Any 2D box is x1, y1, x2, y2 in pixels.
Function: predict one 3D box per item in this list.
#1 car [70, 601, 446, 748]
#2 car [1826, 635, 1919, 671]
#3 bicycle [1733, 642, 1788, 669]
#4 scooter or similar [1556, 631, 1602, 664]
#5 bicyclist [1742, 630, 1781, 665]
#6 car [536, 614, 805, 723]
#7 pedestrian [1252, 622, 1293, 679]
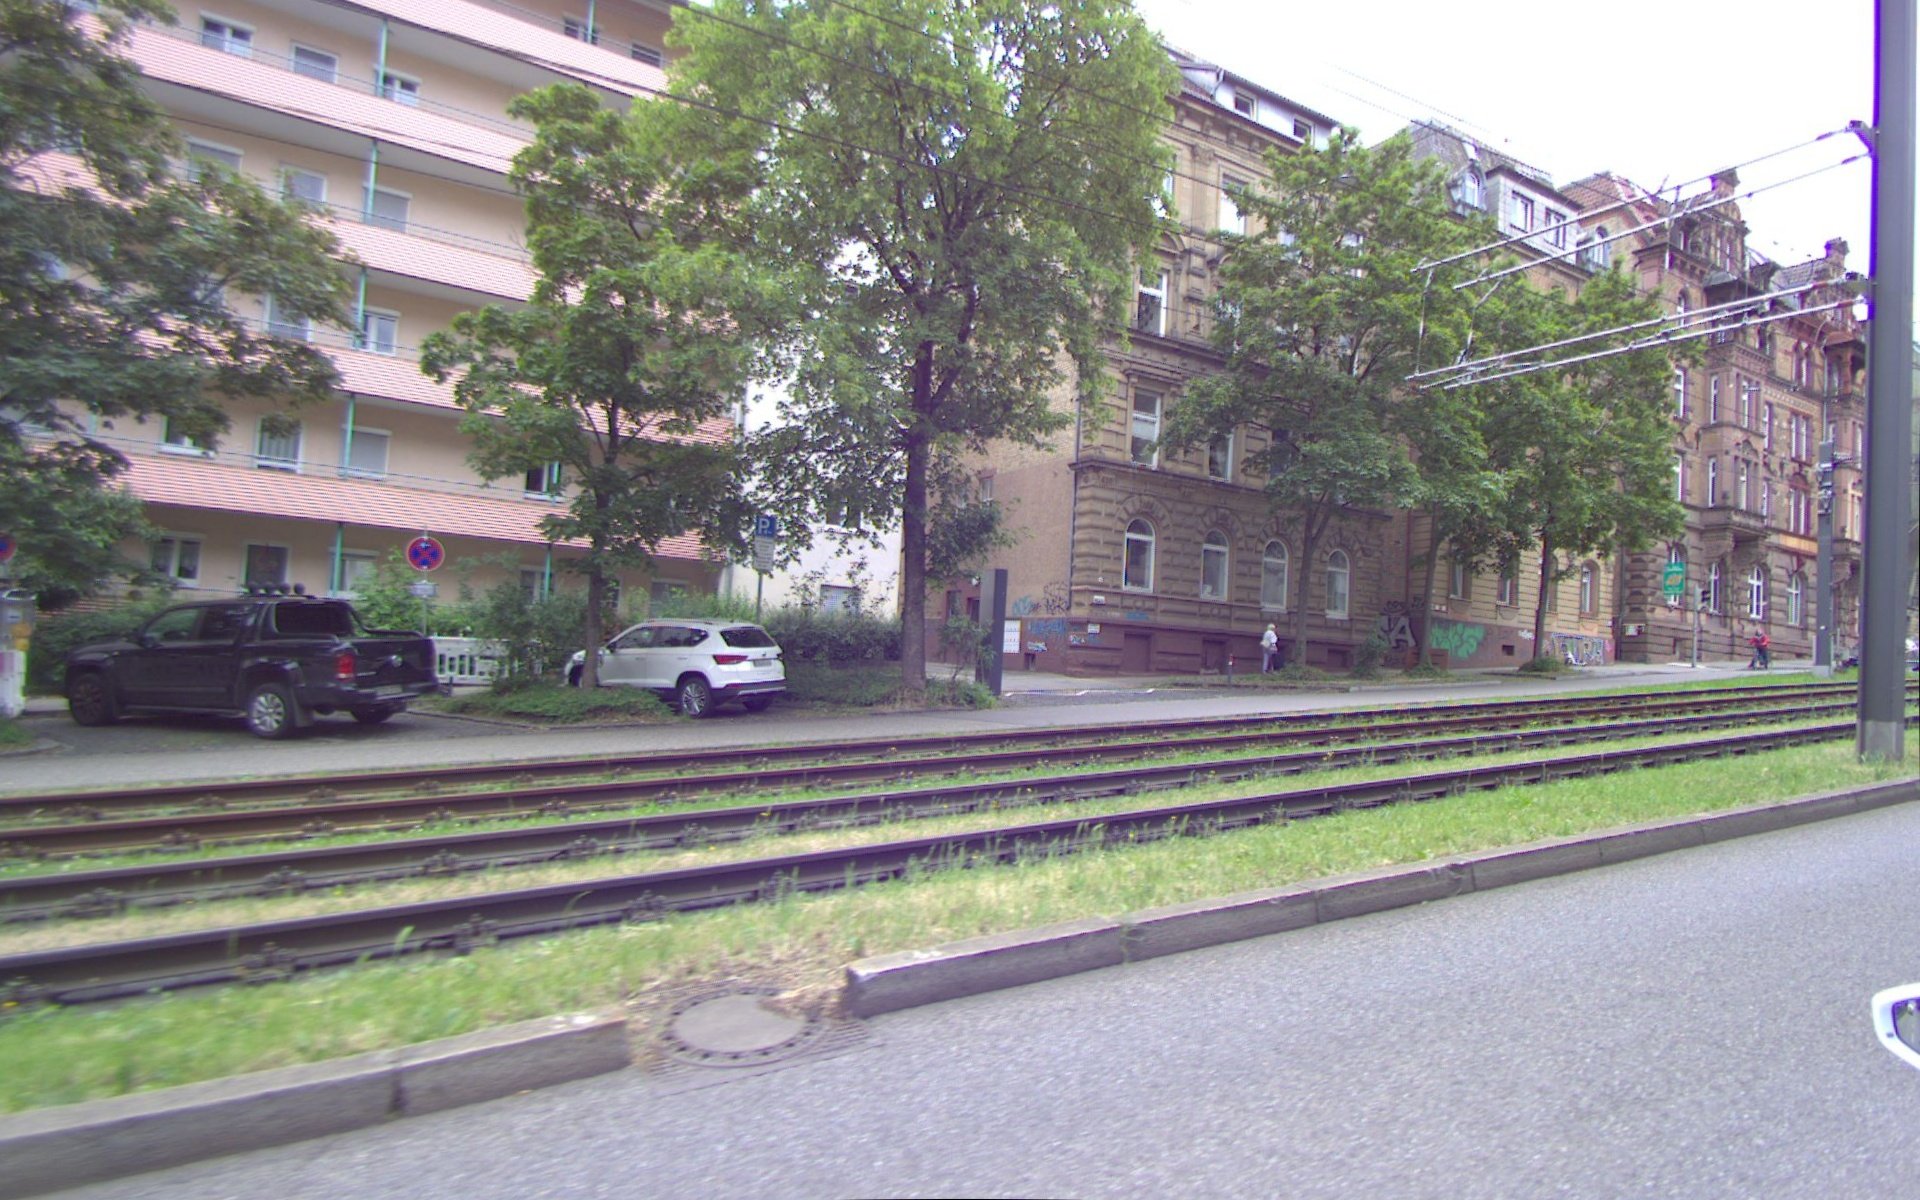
[{"bbox_3d":[-10.064,0.973,14.501,4.514,1.821,1.937,1,0,14],"label":"car"},{"bbox_3d":[37.809,2.147,41.402,3.951,1.421,1.985,1,-2,-29],"label":"car"},{"bbox_3d":[34.107,2.342,42.785,2.670,1.114,0.934,1,-1,-30],"label":"bicycle"},{"bbox_3d":[24.444,1.848,39.660,2.191,1.271,0.626,1,-1,-32],"label":"scooter or similar"},{"bbox_3d":[34.147,2.017,42.807,1.174,1.444,0.934,1,-1,-30],"label":"bicyclist"},{"bbox_3d":[-5.194,1.127,17.950,4.522,1.639,1.934,1,0,27],"label":"car"},{"bbox_3d":[9.475,1.528,30.426,0.838,1.706,0.827,1,-2,-31],"label":"pedestrian"}]
